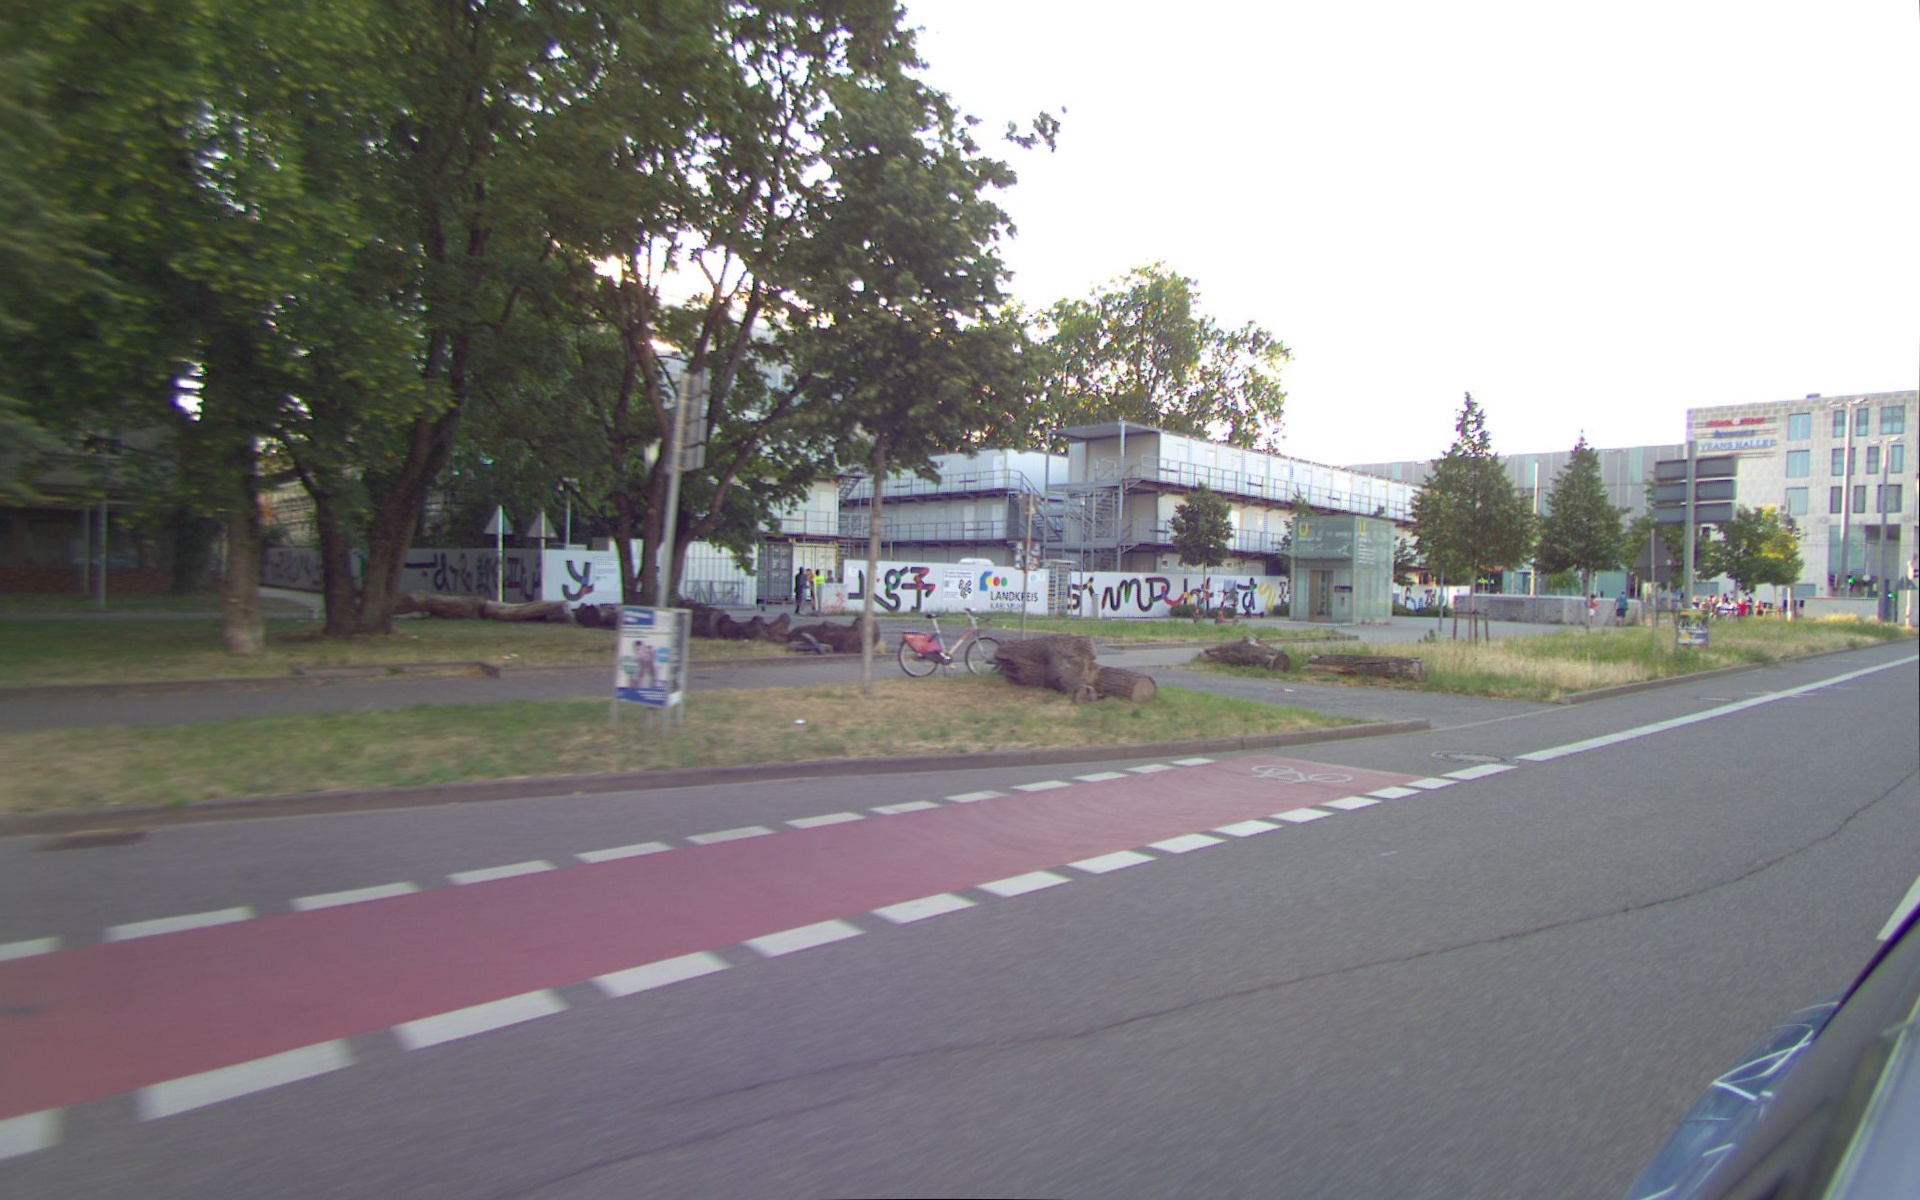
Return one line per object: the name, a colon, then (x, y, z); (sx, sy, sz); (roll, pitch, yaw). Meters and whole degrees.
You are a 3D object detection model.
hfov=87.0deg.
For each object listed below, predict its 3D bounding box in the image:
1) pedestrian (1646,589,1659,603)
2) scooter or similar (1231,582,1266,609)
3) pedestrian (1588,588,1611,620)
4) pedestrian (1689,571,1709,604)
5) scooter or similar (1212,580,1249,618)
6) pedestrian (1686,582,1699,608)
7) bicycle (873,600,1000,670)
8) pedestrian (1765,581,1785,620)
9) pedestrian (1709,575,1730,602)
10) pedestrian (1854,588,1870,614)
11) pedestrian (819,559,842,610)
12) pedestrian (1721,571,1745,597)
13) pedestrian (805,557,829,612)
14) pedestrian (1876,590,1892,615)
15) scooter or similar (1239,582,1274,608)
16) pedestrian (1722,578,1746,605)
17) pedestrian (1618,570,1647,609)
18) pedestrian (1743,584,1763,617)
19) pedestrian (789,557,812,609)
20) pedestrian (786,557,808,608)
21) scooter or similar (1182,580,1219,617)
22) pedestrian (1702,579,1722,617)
pedestrian: (51.710, -0.306, 75.568); (0.648, 0.975, 0.644); (2, 2, 44)
scooter or similar: (13.453, -0.226, 47.252); (0.466, 1.236, 1.571); (0, 0, -43)
pedestrian: (31.091, 0.176, 49.224); (0.633, 1.509, 0.761); (3, 0, -41)
pedestrian: (39.935, -0.667, 54.708); (0.749, 1.734, 0.644); (2, 0, -39)
scooter or similar: (9.143, -0.021, 34.152); (1.374, 1.235, 0.424); (0, 4, -41)
pedestrian: (53.637, -0.338, 74.083); (0.575, 1.877, 0.604); (1, 1, -37)
bicycle: (-0.359, 0.543, 15.625); (1.858, 1.017, 0.497); (2, 3, -21)
pedestrian: (41.672, 0.007, 51.741); (0.608, 1.957, 0.644); (0, 1, -41)
pedestrian: (55.817, -0.828, 74.358); (0.882, 1.876, 0.723); (3, 4, 16)
pedestrian: (61.539, 0.075, 69.020); (0.855, 1.752, 0.644); (0, 1, -39)
pedestrian: (-4.837, -0.585, 37.774); (0.588, 1.843, 0.771); (1, 1, -26)
pedestrian: (55.409, -1.157, 72.554); (0.986, 1.744, 0.873); (1, 4, -15)
pedestrian: (-5.104, -0.550, 36.087); (0.588, 1.943, 0.771); (1, 1, -26)
pedestrian: (62.190, 0.158, 68.094); (0.855, 1.680, 0.644); (0, 1, -39)
scooter or similar: (14.008, -0.244, 47.837); (0.466, 1.236, 1.571); (0, 0, -43)
pedestrian: (56.152, -0.648, 73.412); (0.986, 1.876, 0.896); (0, 4, -29)
pedestrian: (33.079, -0.522, 49.763); (1.027, 1.838, 0.817); (2, 1, -36)
pedestrian: (43.485, 0.028, 55.495); (0.855, 1.734, 0.644); (0, 1, -40)
pedestrian: (-5.874, -0.623, 37.209); (0.588, 1.879, 0.771); (1, 1, -26)
pedestrian: (-6.162, -0.670, 38.206); (0.588, 1.925, 0.771); (1, 1, -26)
scooter or similar: (8.327, -0.055, 34.993); (0.473, 1.235, 1.550); (6, 4, 42)
pedestrian: (39.200, -0.122, 52.775); (0.608, 1.957, 0.644); (1, 1, -39)
